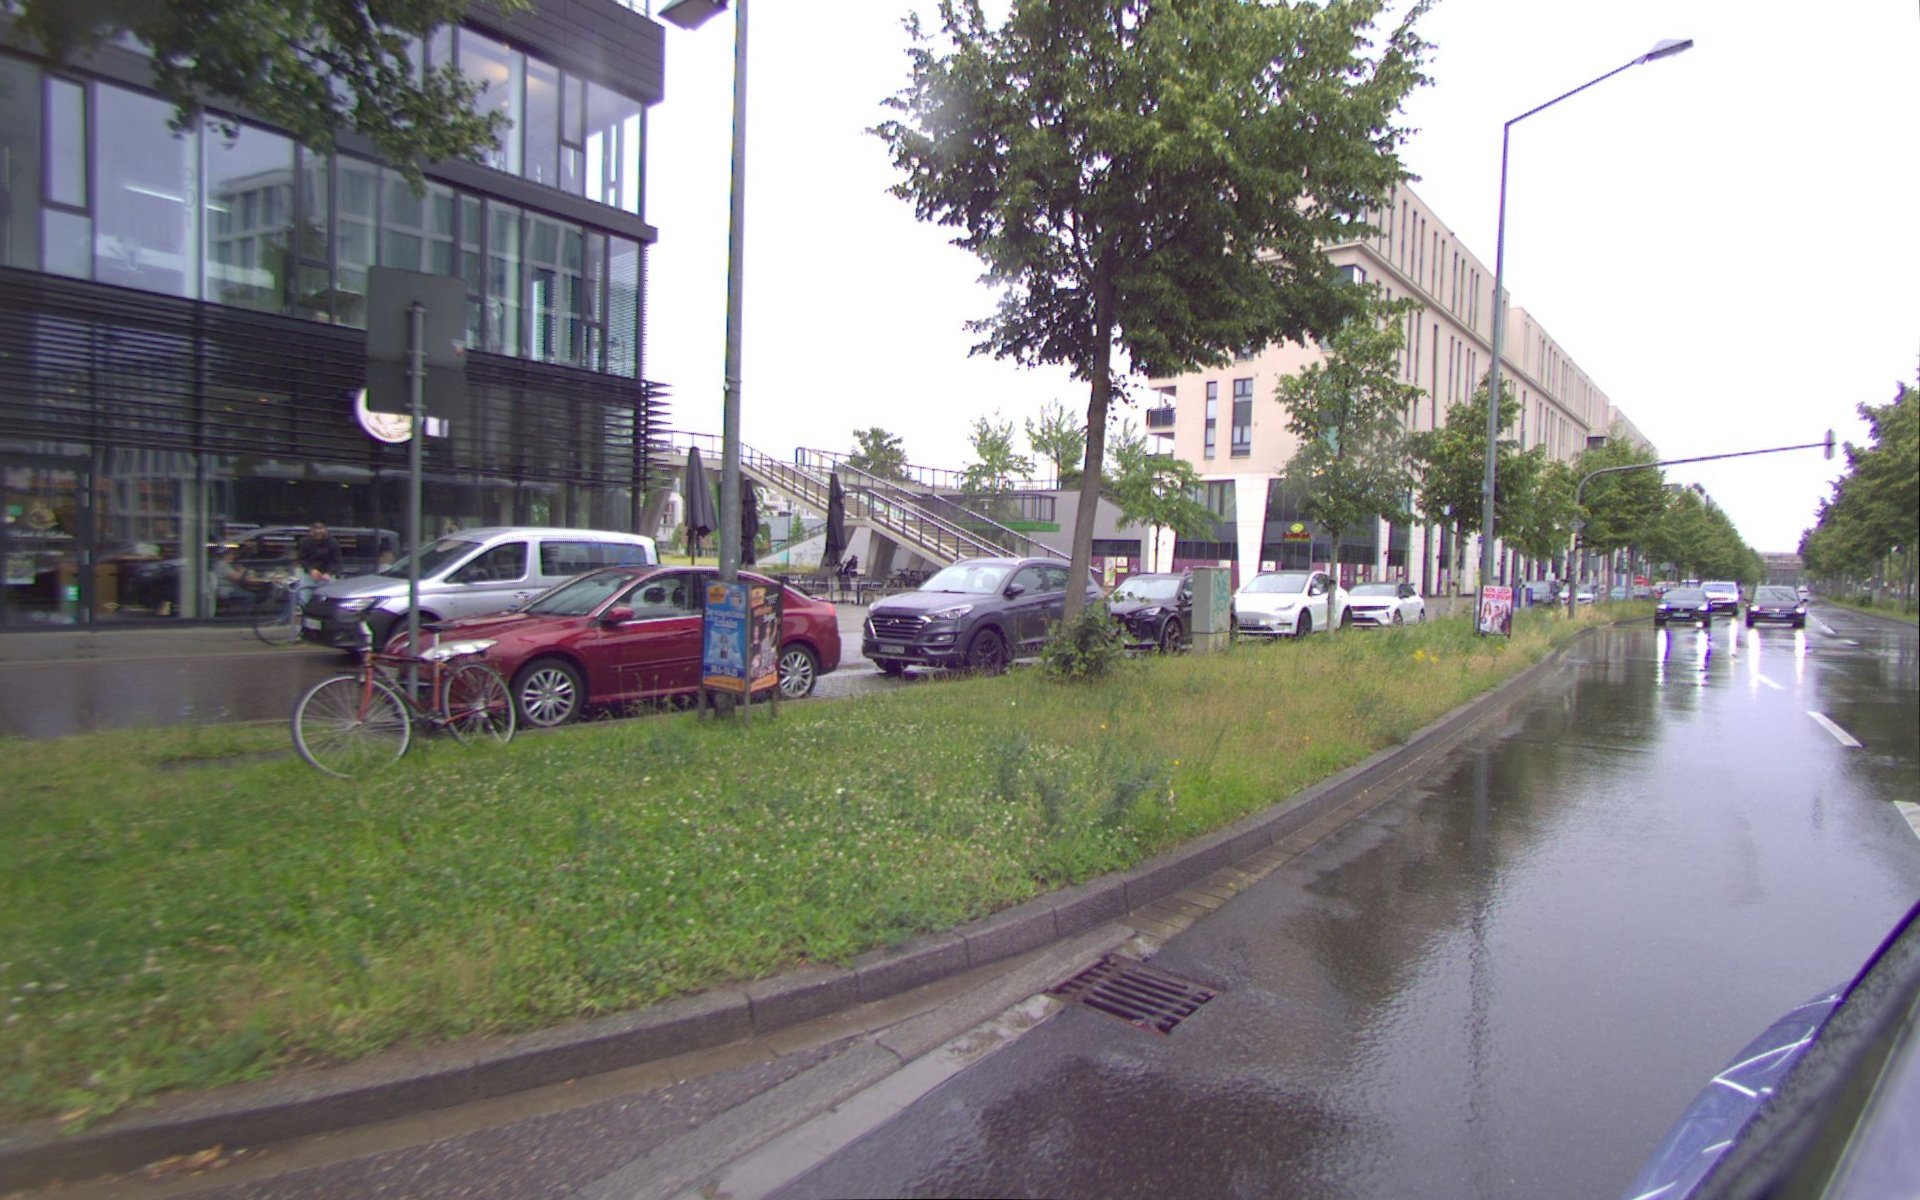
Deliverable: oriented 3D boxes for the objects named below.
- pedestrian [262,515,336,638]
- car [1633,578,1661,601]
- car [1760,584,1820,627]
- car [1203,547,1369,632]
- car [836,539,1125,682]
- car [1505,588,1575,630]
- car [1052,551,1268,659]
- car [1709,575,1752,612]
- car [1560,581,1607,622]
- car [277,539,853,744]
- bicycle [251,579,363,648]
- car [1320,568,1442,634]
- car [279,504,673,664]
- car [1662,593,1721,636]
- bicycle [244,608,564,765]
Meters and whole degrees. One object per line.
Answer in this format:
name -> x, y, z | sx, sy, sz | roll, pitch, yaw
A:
pedestrian -> -9.511, -0.335, 14.571 | 0.623, 1.726, 0.649 | 3, 0, 35
car -> 53.223, -0.766, 78.381 | 1.634, 1.608, 3.878 | 3, 1, 35
car -> 32.338, 0.241, 39.480 | 1.650, 1.548, 3.723 | 3, 1, 38
car -> 7.583, -0.200, 23.232 | 1.991, 1.729, 4.769 | 3, 1, 39
car -> 0.435, 0.138, 14.622 | 1.991, 1.729, 4.157 | 3, 1, 39
car -> 26.527, 0.450, 46.216 | 1.991, 1.729, 4.769 | 3, 1, 39
car -> 3.870, 0.101, 18.947 | 1.991, 1.729, 4.656 | 3, 1, 39
car -> 44.136, -0.365, 57.935 | 1.751, 1.950, 3.941 | 3, 1, 40
car -> 33.865, 0.098, 54.942 | 1.905, 2.039, 3.949 | 3, 1, 35
car -> -3.513, 0.239, 9.873 | 1.992, 1.472, 4.887 | 3, 3, 40
bicycle -> -9.086, 0.190, 14.110 | 0.435, 0.908, 1.216 | 3, 0, 35
car -> 12.405, 0.059, 29.658 | 1.991, 1.729, 4.769 | 3, 1, 39
car -> -6.619, -0.186, 14.357 | 1.889, 1.889, 4.659 | 3, 1, 37
car -> 28.499, 0.574, 39.402 | 1.680, 1.548, 3.913 | 3, 1, 38
bicycle -> -3.613, 0.504, 6.790 | 0.568, 0.872, 1.898 | 3, 1, 24
